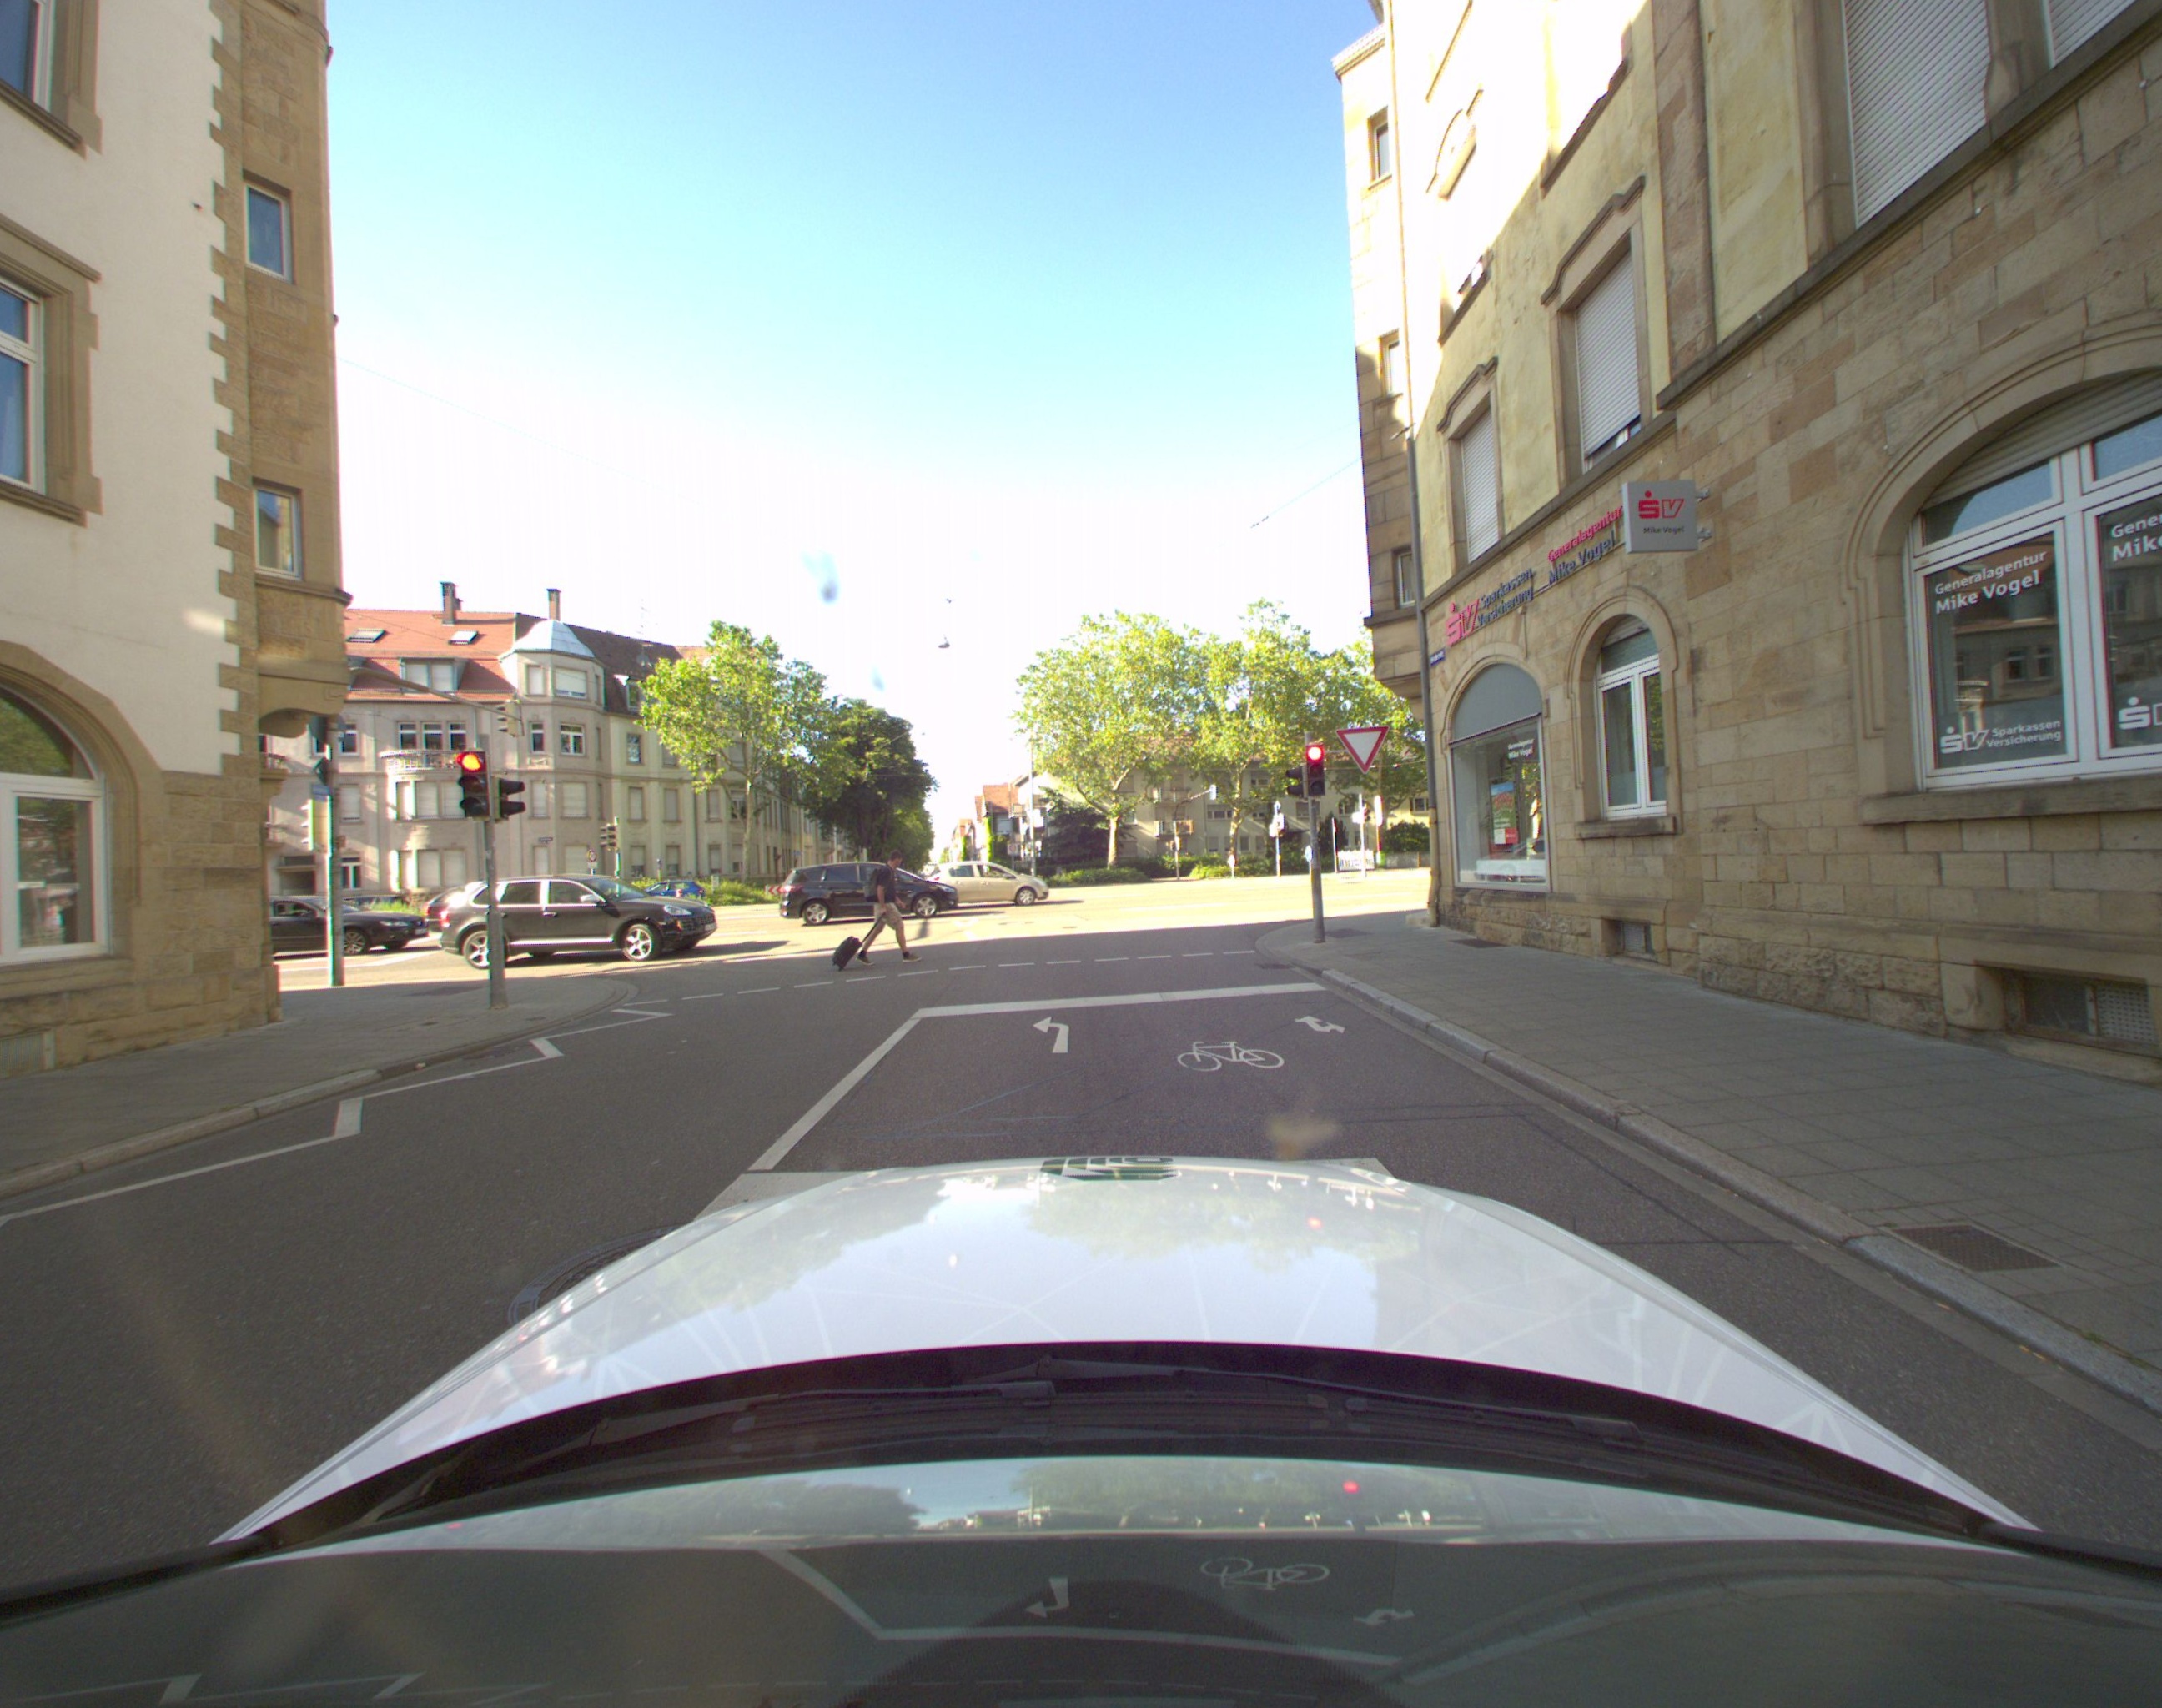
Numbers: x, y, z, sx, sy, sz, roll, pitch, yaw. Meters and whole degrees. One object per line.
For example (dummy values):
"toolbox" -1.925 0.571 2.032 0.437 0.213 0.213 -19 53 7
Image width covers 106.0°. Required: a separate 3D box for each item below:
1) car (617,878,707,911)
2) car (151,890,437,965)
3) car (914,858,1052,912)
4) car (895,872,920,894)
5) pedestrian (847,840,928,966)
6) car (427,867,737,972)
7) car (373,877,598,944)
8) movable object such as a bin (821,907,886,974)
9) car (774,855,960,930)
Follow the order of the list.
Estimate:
"car" -20.914 1.983 40.809 3.793 1.400 1.635 -2 0 -20
"car" -18.259 1.659 19.131 4.617 1.456 1.724 -1 -1 -10
"car" -3.178 0.943 26.089 4.206 1.456 1.671 -3 0 -13
"car" -13.588 2.267 63.821 1.698 1.483 3.522 -4 0 -10
"pedestrian" -3.033 0.750 12.890 1.066 1.848 0.746 -5 0 -11
"car" -9.609 1.213 16.066 4.685 1.694 2.076 -3 0 -5
"car" -16.534 1.527 22.876 4.620 1.456 1.974 -3 0 -11
"movable object such as a bin" -3.455 1.303 12.411 0.862 0.892 0.507 -4 0 -11
"car" -5.790 0.998 22.334 4.668 1.664 1.722 -3 0 -14
